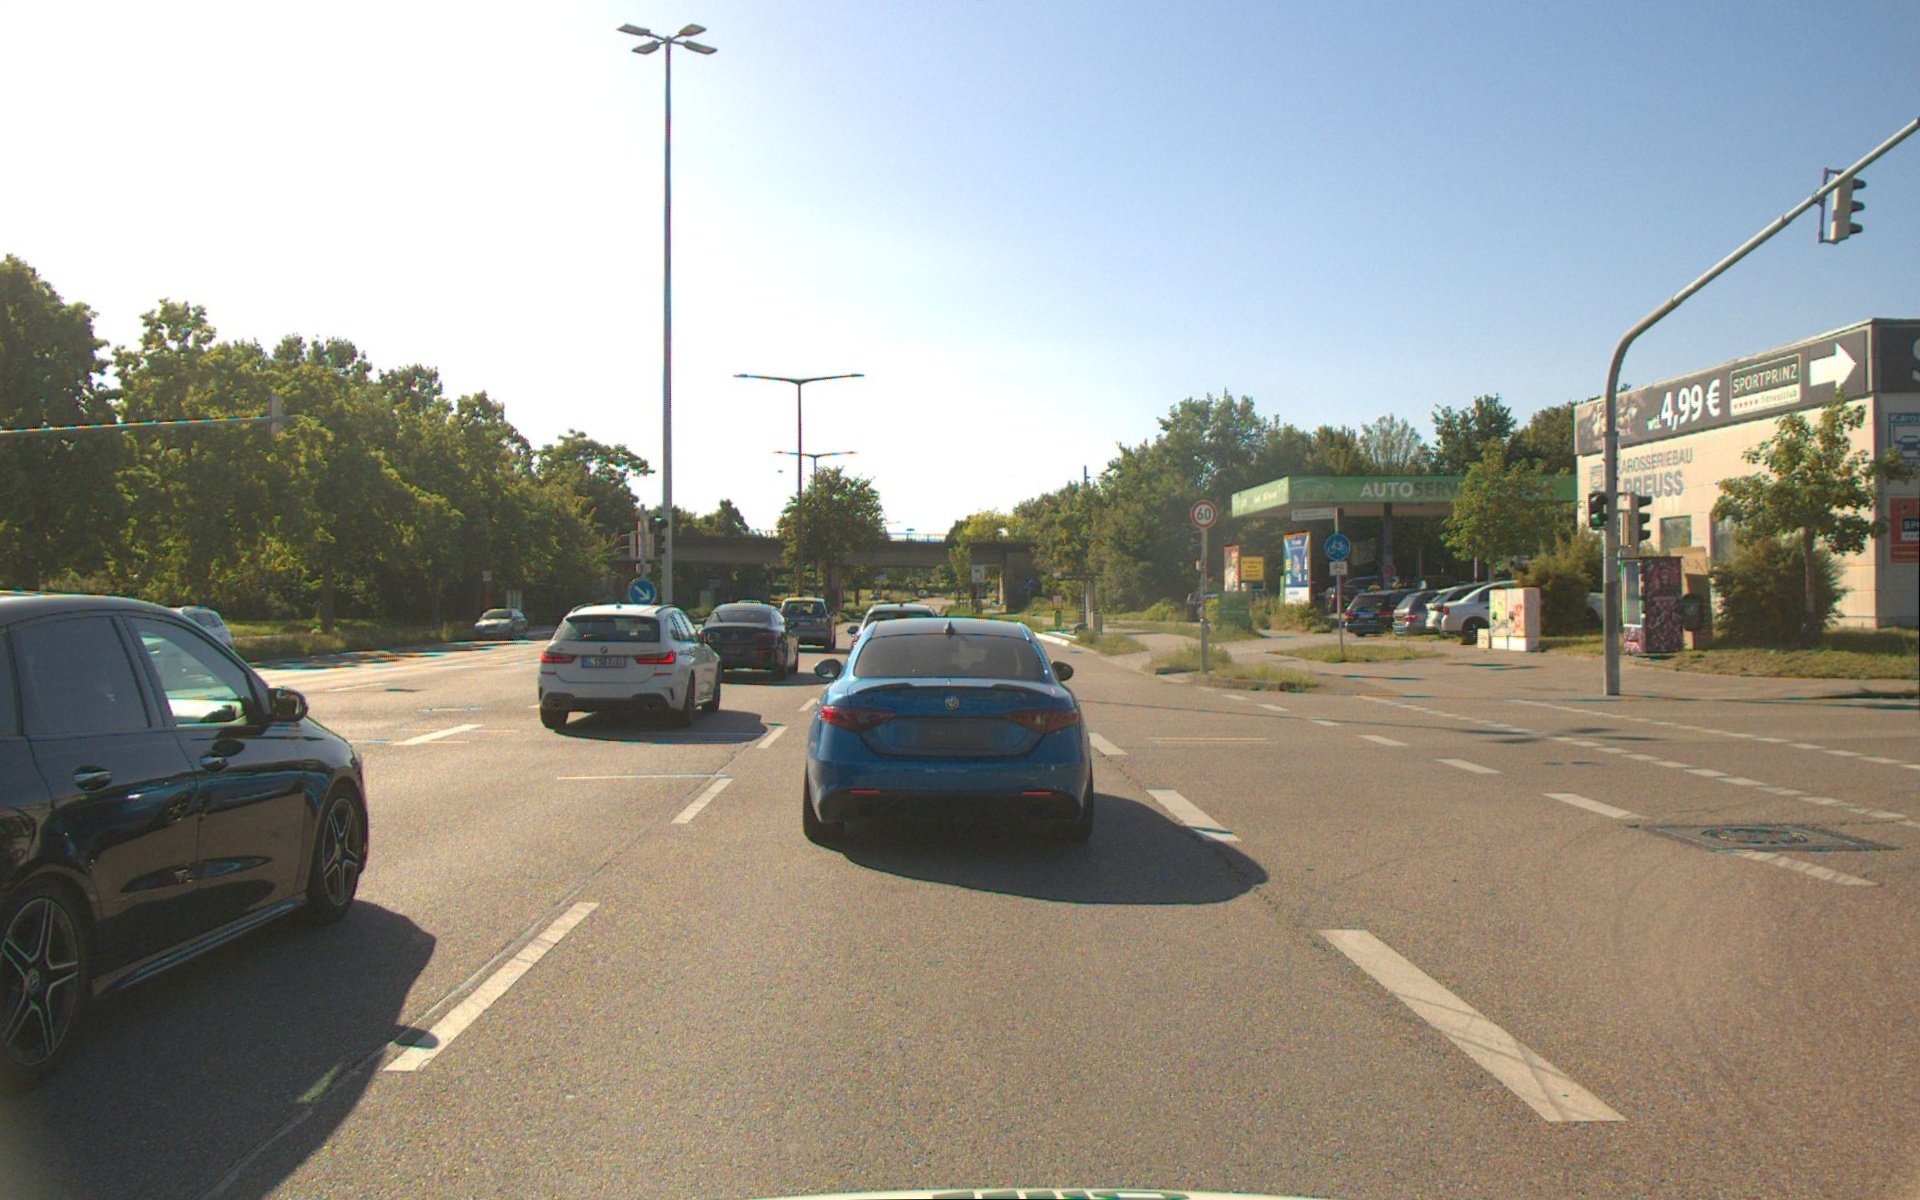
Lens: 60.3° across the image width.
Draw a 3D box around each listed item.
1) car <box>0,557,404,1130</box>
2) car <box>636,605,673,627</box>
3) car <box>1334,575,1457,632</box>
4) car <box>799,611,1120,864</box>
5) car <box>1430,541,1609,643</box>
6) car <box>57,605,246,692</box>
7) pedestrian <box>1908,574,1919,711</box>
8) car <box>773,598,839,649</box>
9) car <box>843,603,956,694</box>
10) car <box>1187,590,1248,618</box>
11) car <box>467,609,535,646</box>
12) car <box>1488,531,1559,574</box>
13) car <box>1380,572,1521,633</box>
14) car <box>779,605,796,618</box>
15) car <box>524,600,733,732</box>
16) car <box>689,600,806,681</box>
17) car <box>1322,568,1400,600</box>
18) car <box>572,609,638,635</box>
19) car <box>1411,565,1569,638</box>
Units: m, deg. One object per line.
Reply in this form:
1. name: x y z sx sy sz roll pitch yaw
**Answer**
1. car: -3.591 0.684 6.174 1.673 1.626 4.222 1 0 -2
2. car: -22.026 1.156 119.474 1.953 1.500 4.194 -1 0 -2
3. car: 14.119 0.098 53.452 1.867 1.557 4.808 -3 0 41
4. car: -0.055 0.819 11.733 1.845 1.431 4.222 1 0 -2
5. car: 14.378 -0.206 42.544 3.915 2.047 1.683 -8 0 31
6. car: -16.735 0.960 34.483 1.856 1.627 4.266 -2 0 -1
7. pedestrian: 12.606 0.532 21.000 0.742 1.746 0.617 -1 0 -2
8. car: -4.696 0.690 50.970 1.743 1.479 4.180 -1 0 -2
9. car: -1.058 0.809 29.575 1.845 1.479 4.525 1 0 -2
10. car: 14.778 0.246 94.933 3.217 1.512 1.771 1 0 0
11. car: -20.791 1.221 75.070 1.953 1.552 4.195 -1 1 -2
12. car: 25.692 -2.131 75.545 1.879 1.785 3.777 -1 0 0
13. car: 14.542 0.094 49.166 3.535 1.312 1.841 -8 -1 0
14. car: -20.066 1.334 192.765 1.608 1.476 4.110 -2 0 -2
15. car: -4.098 0.765 21.148 1.845 1.479 4.525 1 0 -2
16. car: -4.163 0.770 33.033 1.845 1.479 4.525 1 0 -2
17. car: 22.662 -0.896 93.514 3.955 1.558 1.734 -3 0 0
18. car: -20.813 1.277 97.045 1.951 1.400 4.627 -1 0 14
19. car: 14.673 0.045 45.977 3.837 1.477 1.726 -8 -1 10
